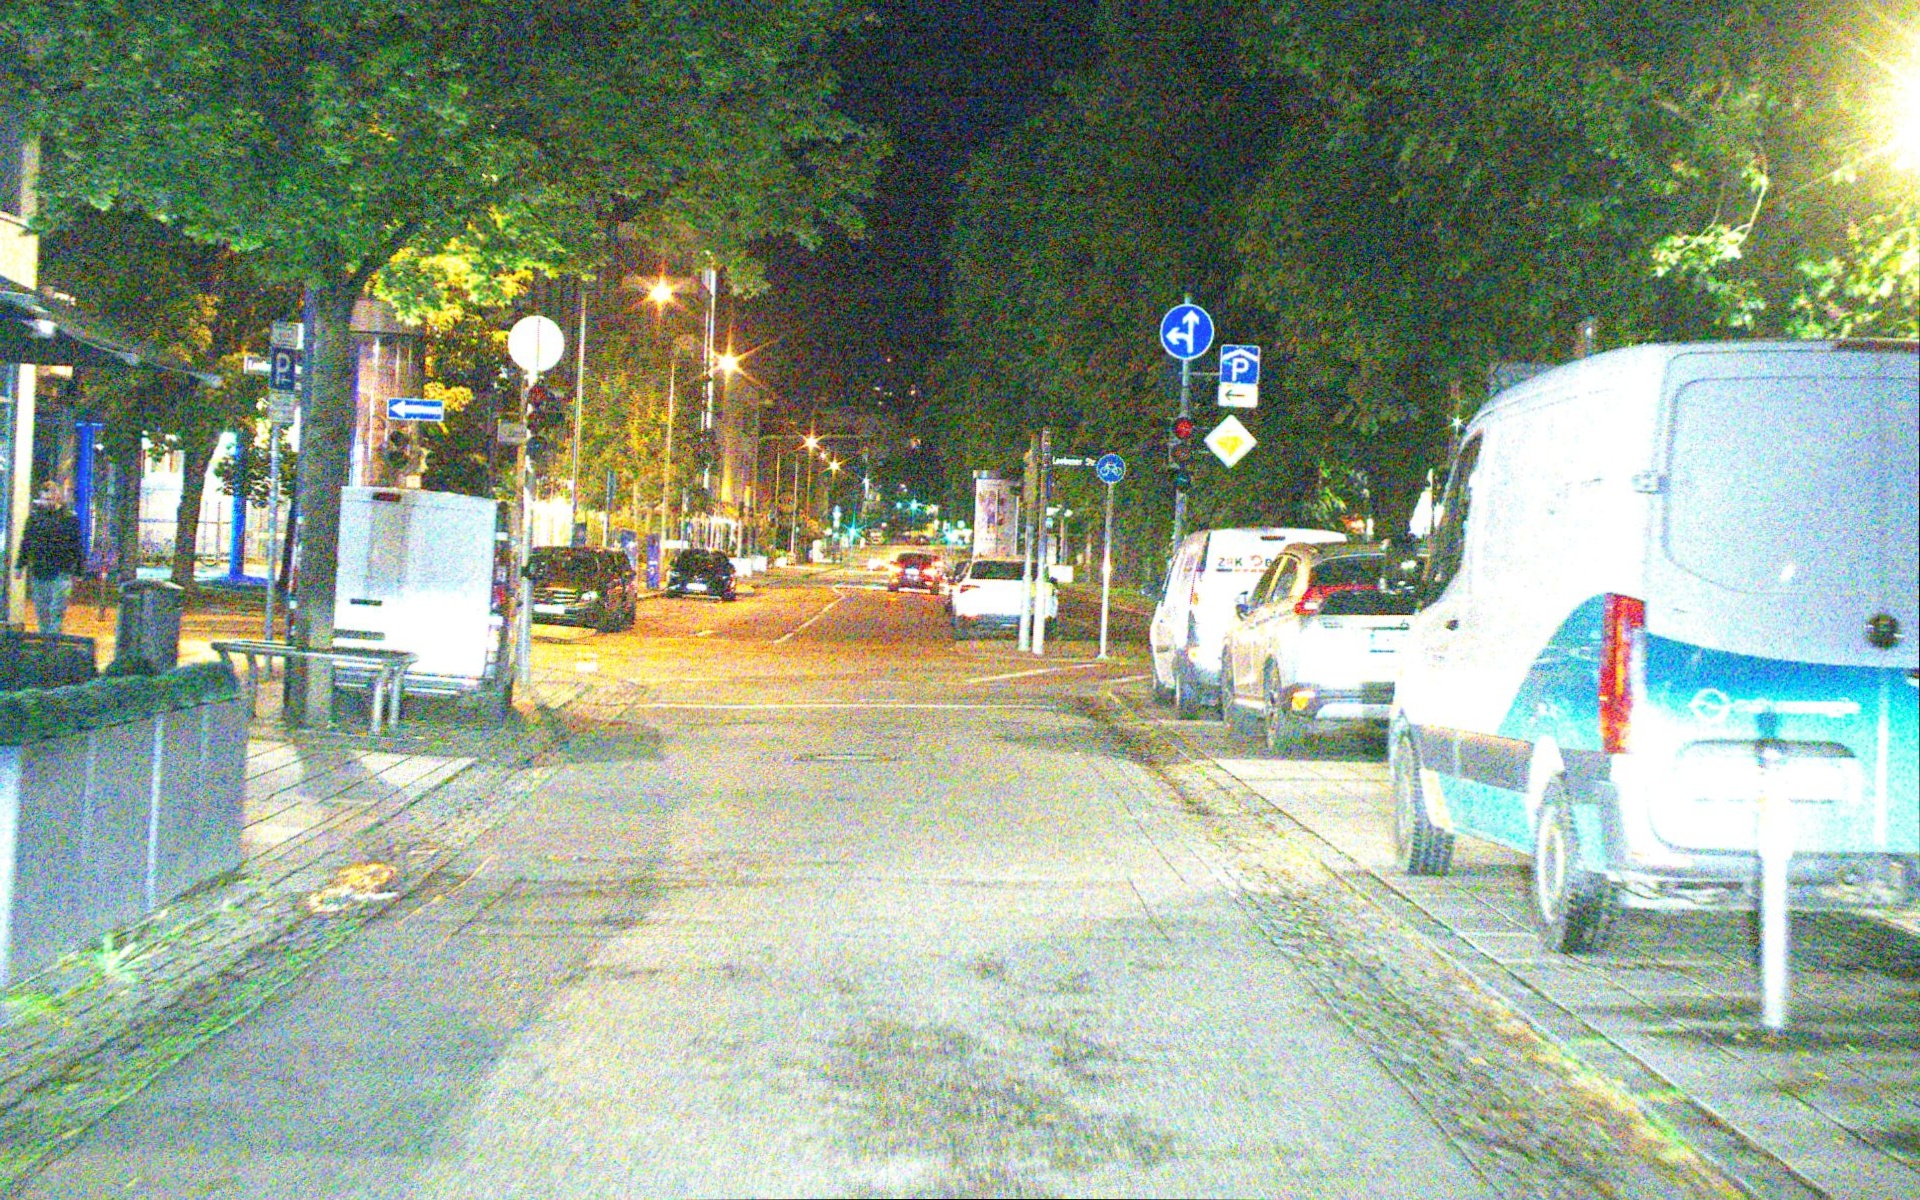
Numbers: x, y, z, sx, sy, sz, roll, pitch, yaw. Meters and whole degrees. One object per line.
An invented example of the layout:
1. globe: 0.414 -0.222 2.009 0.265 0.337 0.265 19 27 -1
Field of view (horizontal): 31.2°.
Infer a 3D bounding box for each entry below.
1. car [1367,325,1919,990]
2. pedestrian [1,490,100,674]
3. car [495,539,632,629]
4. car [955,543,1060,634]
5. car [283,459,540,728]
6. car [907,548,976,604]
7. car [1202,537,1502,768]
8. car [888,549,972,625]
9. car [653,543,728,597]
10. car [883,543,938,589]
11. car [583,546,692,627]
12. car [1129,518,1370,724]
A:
1. car: 3.222 0.175 14.739 2.134 2.318 5.152 2 1 -2
2. pedestrian: -8.686 -0.173 32.856 0.668 1.713 0.908 2 1 -1
3. car: -7.024 -0.312 61.292 1.806 1.420 4.921 4 1 -1
4. car: 0.810 -0.231 60.928 1.770 1.531 4.216 0 1 0
5. car: -4.810 -0.101 30.759 1.852 2.080 5.091 4 1 -6
6. car: -0.483 -0.660 93.371 1.764 1.409 4.808 2 1 0
7. car: 3.046 0.352 27.522 1.684 1.653 4.297 2 1 -3
8. car: -0.636 -0.305 73.788 1.689 1.531 4.016 2 1 0
9. car: -7.776 -0.881 99.414 1.741 1.408 4.496 3 1 0
10. car: -1.866 -1.295 129.110 1.993 1.637 4.000 1 1 -1
11. car: -6.325 -0.289 67.765 1.722 1.423 3.977 4 1 -1
12. car: 2.743 0.152 33.503 1.789 1.816 4.580 2 1 -2
